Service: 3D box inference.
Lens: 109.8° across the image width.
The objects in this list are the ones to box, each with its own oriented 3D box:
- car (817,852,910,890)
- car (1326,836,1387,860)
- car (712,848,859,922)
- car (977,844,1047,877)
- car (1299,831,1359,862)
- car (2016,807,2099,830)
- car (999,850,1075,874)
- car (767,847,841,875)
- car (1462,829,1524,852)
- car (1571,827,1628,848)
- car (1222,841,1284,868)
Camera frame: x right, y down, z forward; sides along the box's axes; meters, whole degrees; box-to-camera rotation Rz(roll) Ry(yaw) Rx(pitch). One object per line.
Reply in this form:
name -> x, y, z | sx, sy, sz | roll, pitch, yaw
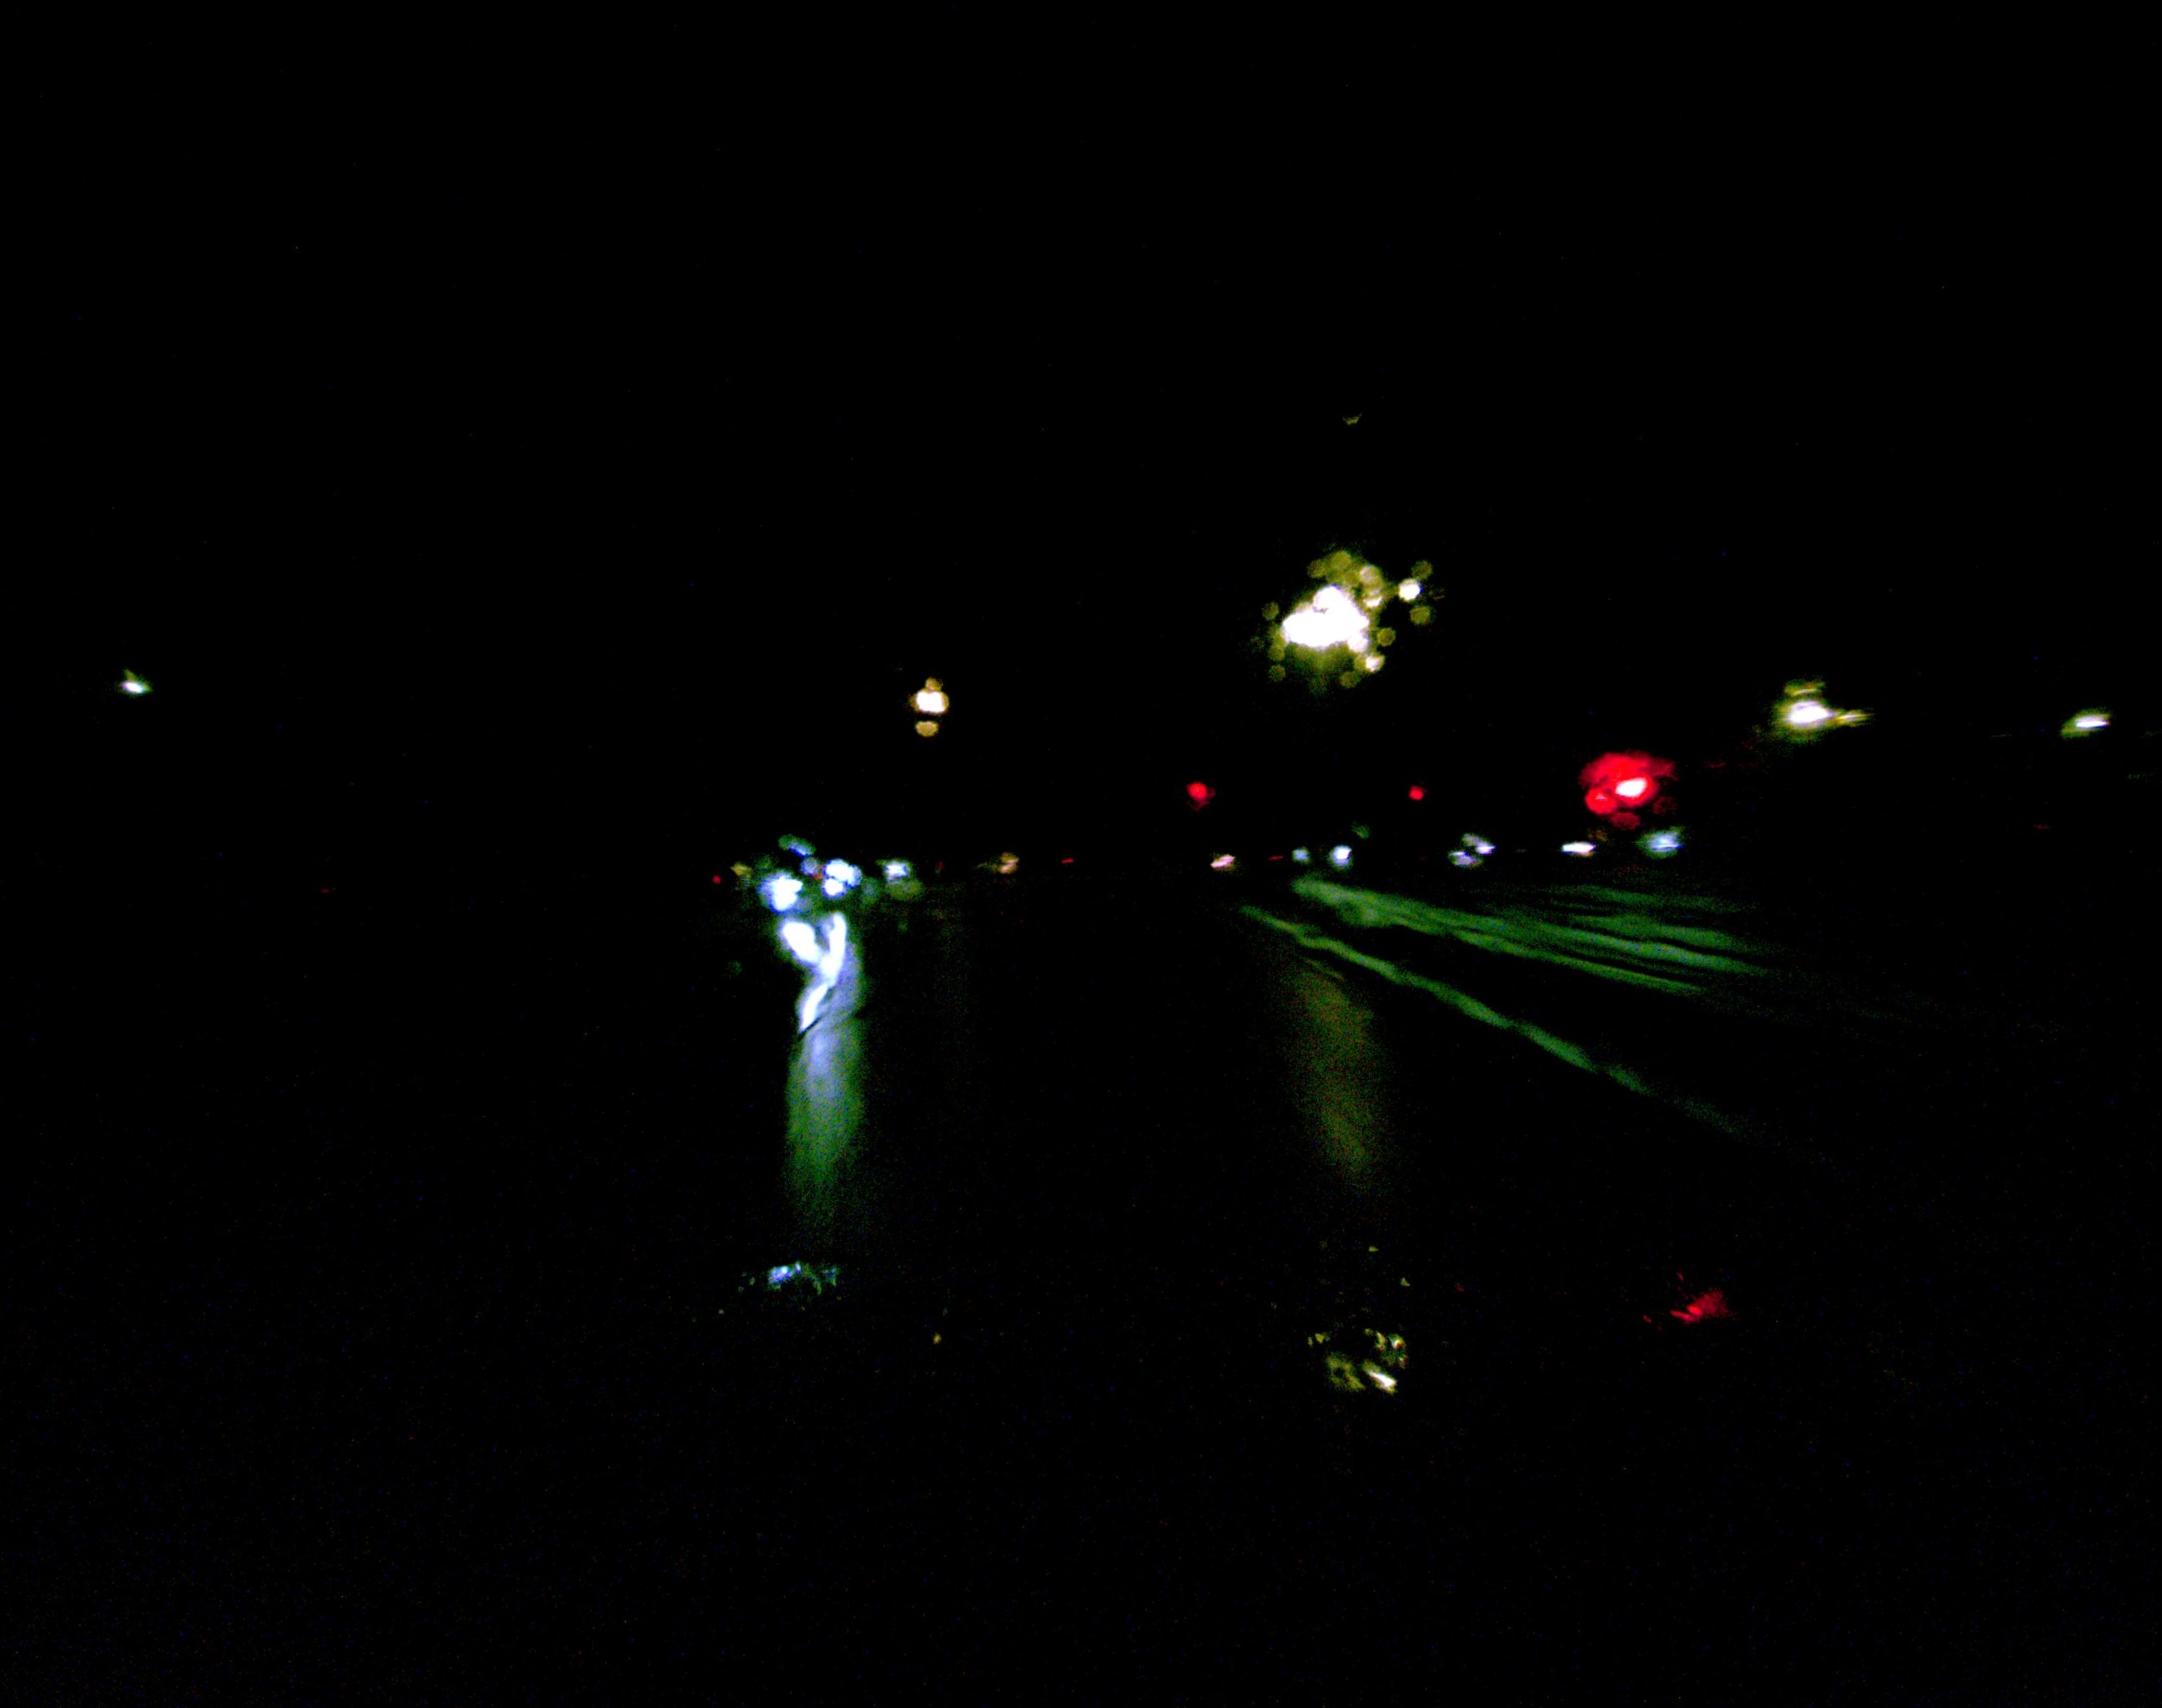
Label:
car -> -10.302, 0.772, 36.233 | 4.138, 1.640, 1.829 | -2, 1, -14
car -> 17.782, -0.389, 49.097 | 3.351, 1.419, 1.593 | -3, 1, -13
car -> -8.935, 0.876, 22.856 | 4.357, 1.915, 2.008 | -1, 3, 37
car -> -4.600, 0.393, 50.440 | 4.354, 2.005, 1.892 | -2, 1, -12
car -> 17.235, -0.539, 52.794 | 3.795, 2.002, 1.591 | -3, 2, -24
car -> 66.782, -2.431, 51.981 | 4.269, 1.444, 1.800 | -2, 1, -11
car -> -2.761, 0.484, 47.465 | 4.456, 1.351, 1.649 | -2, 1, -13
car -> -16.160, 0.405, 44.491 | 3.821, 1.440, 1.668 | -2, 1, -14
car -> 30.262, -0.970, 55.851 | 3.793, 1.533, 1.754 | -3, 1, -15
car -> 42.747, -1.353, 62.691 | 3.792, 1.665, 1.610 | -2, 1, -10
car -> 12.516, 0.027, 55.424 | 4.016, 1.830, 1.753 | -2, 1, -13
